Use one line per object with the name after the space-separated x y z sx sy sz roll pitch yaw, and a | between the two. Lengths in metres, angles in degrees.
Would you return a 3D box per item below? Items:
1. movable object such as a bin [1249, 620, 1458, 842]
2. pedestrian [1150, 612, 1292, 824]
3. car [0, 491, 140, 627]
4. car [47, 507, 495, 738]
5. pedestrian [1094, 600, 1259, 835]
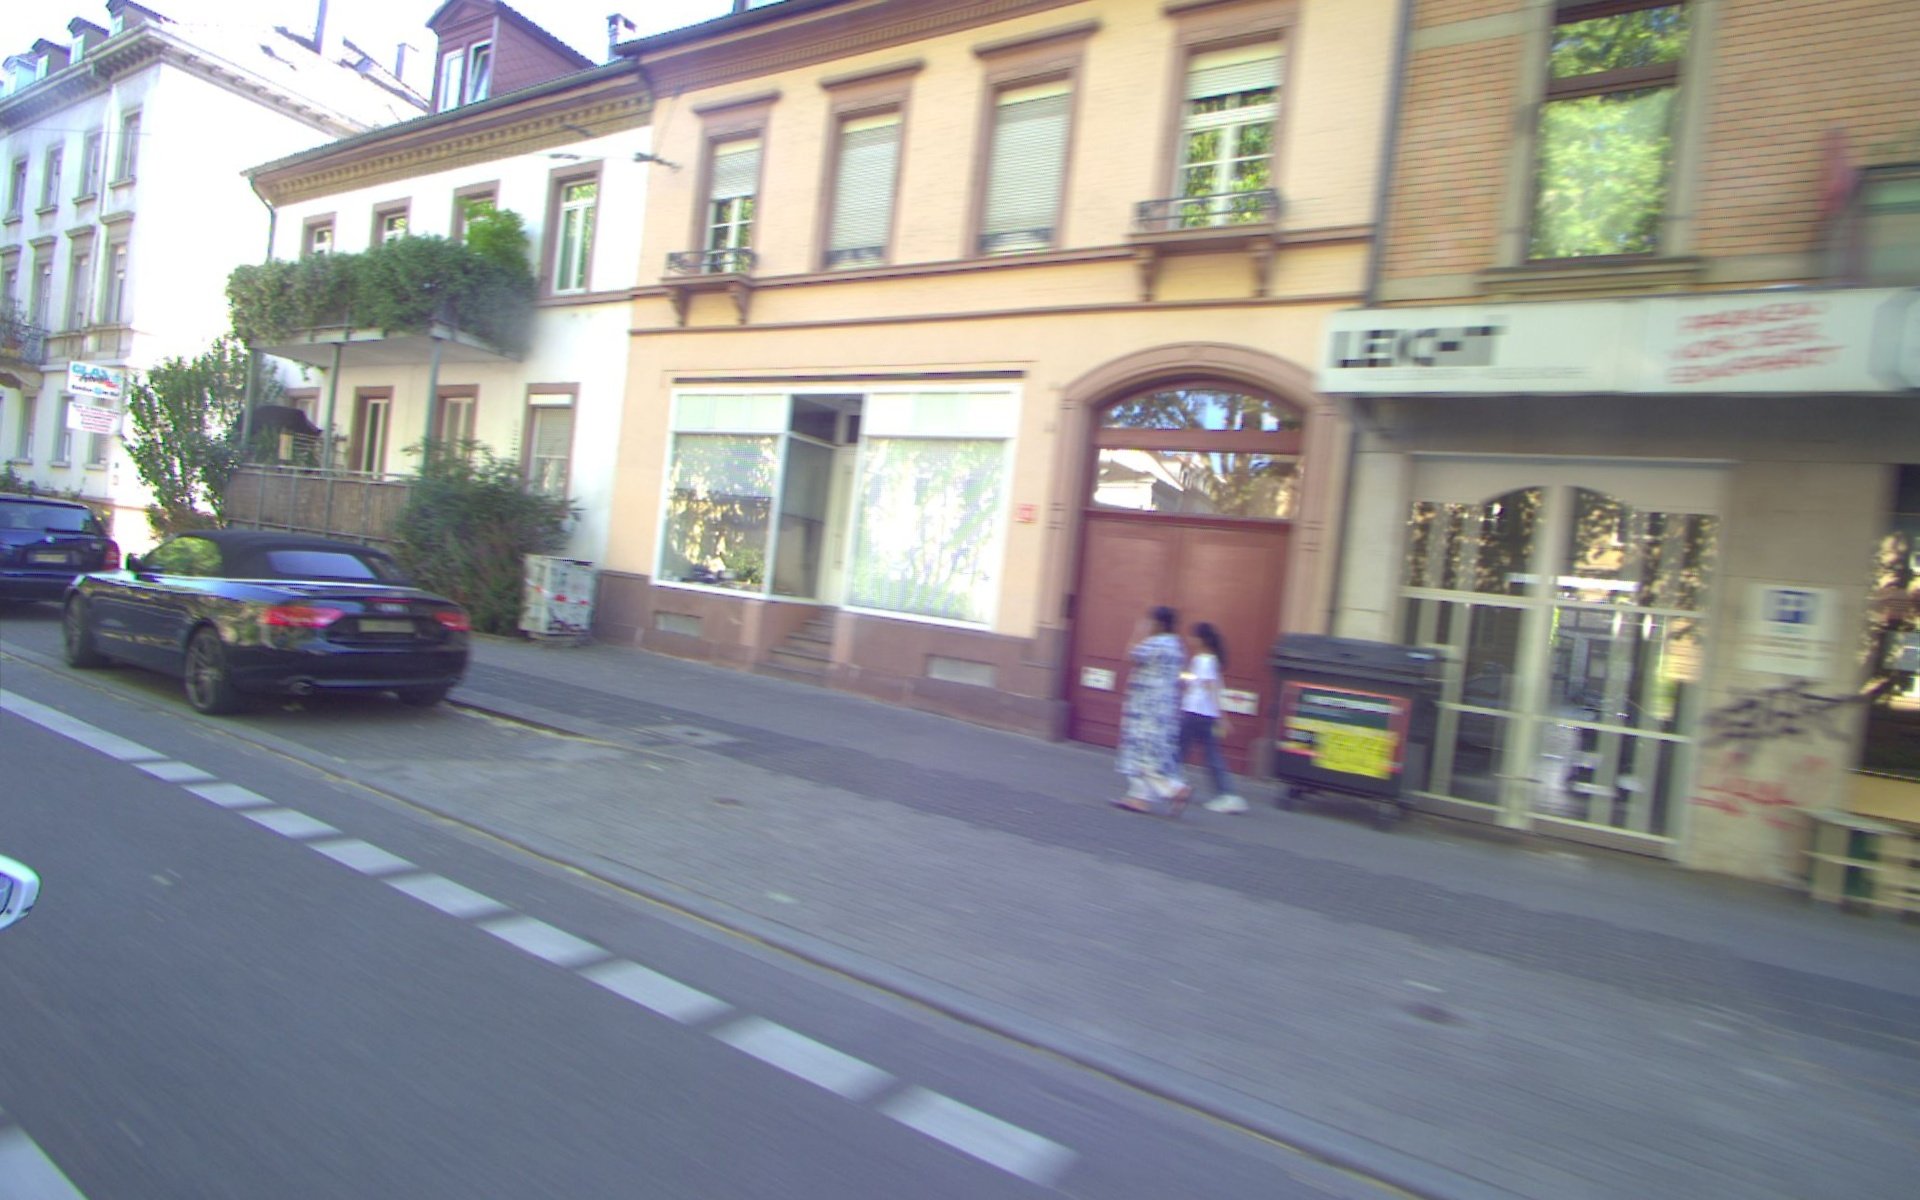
3.322 1.037 8.441 1.265 1.539 1.295 7 0 32 | movable object such as a bin
2.059 0.898 7.920 0.772 1.501 0.658 7 1 31 | pedestrian
-12.182 -0.624 12.724 3.805 1.475 1.651 7 2 32 | car
-6.225 0.083 8.909 4.422 1.411 1.694 7 2 34 | car
1.583 0.819 7.344 0.852 1.524 0.660 7 2 31 | pedestrian
